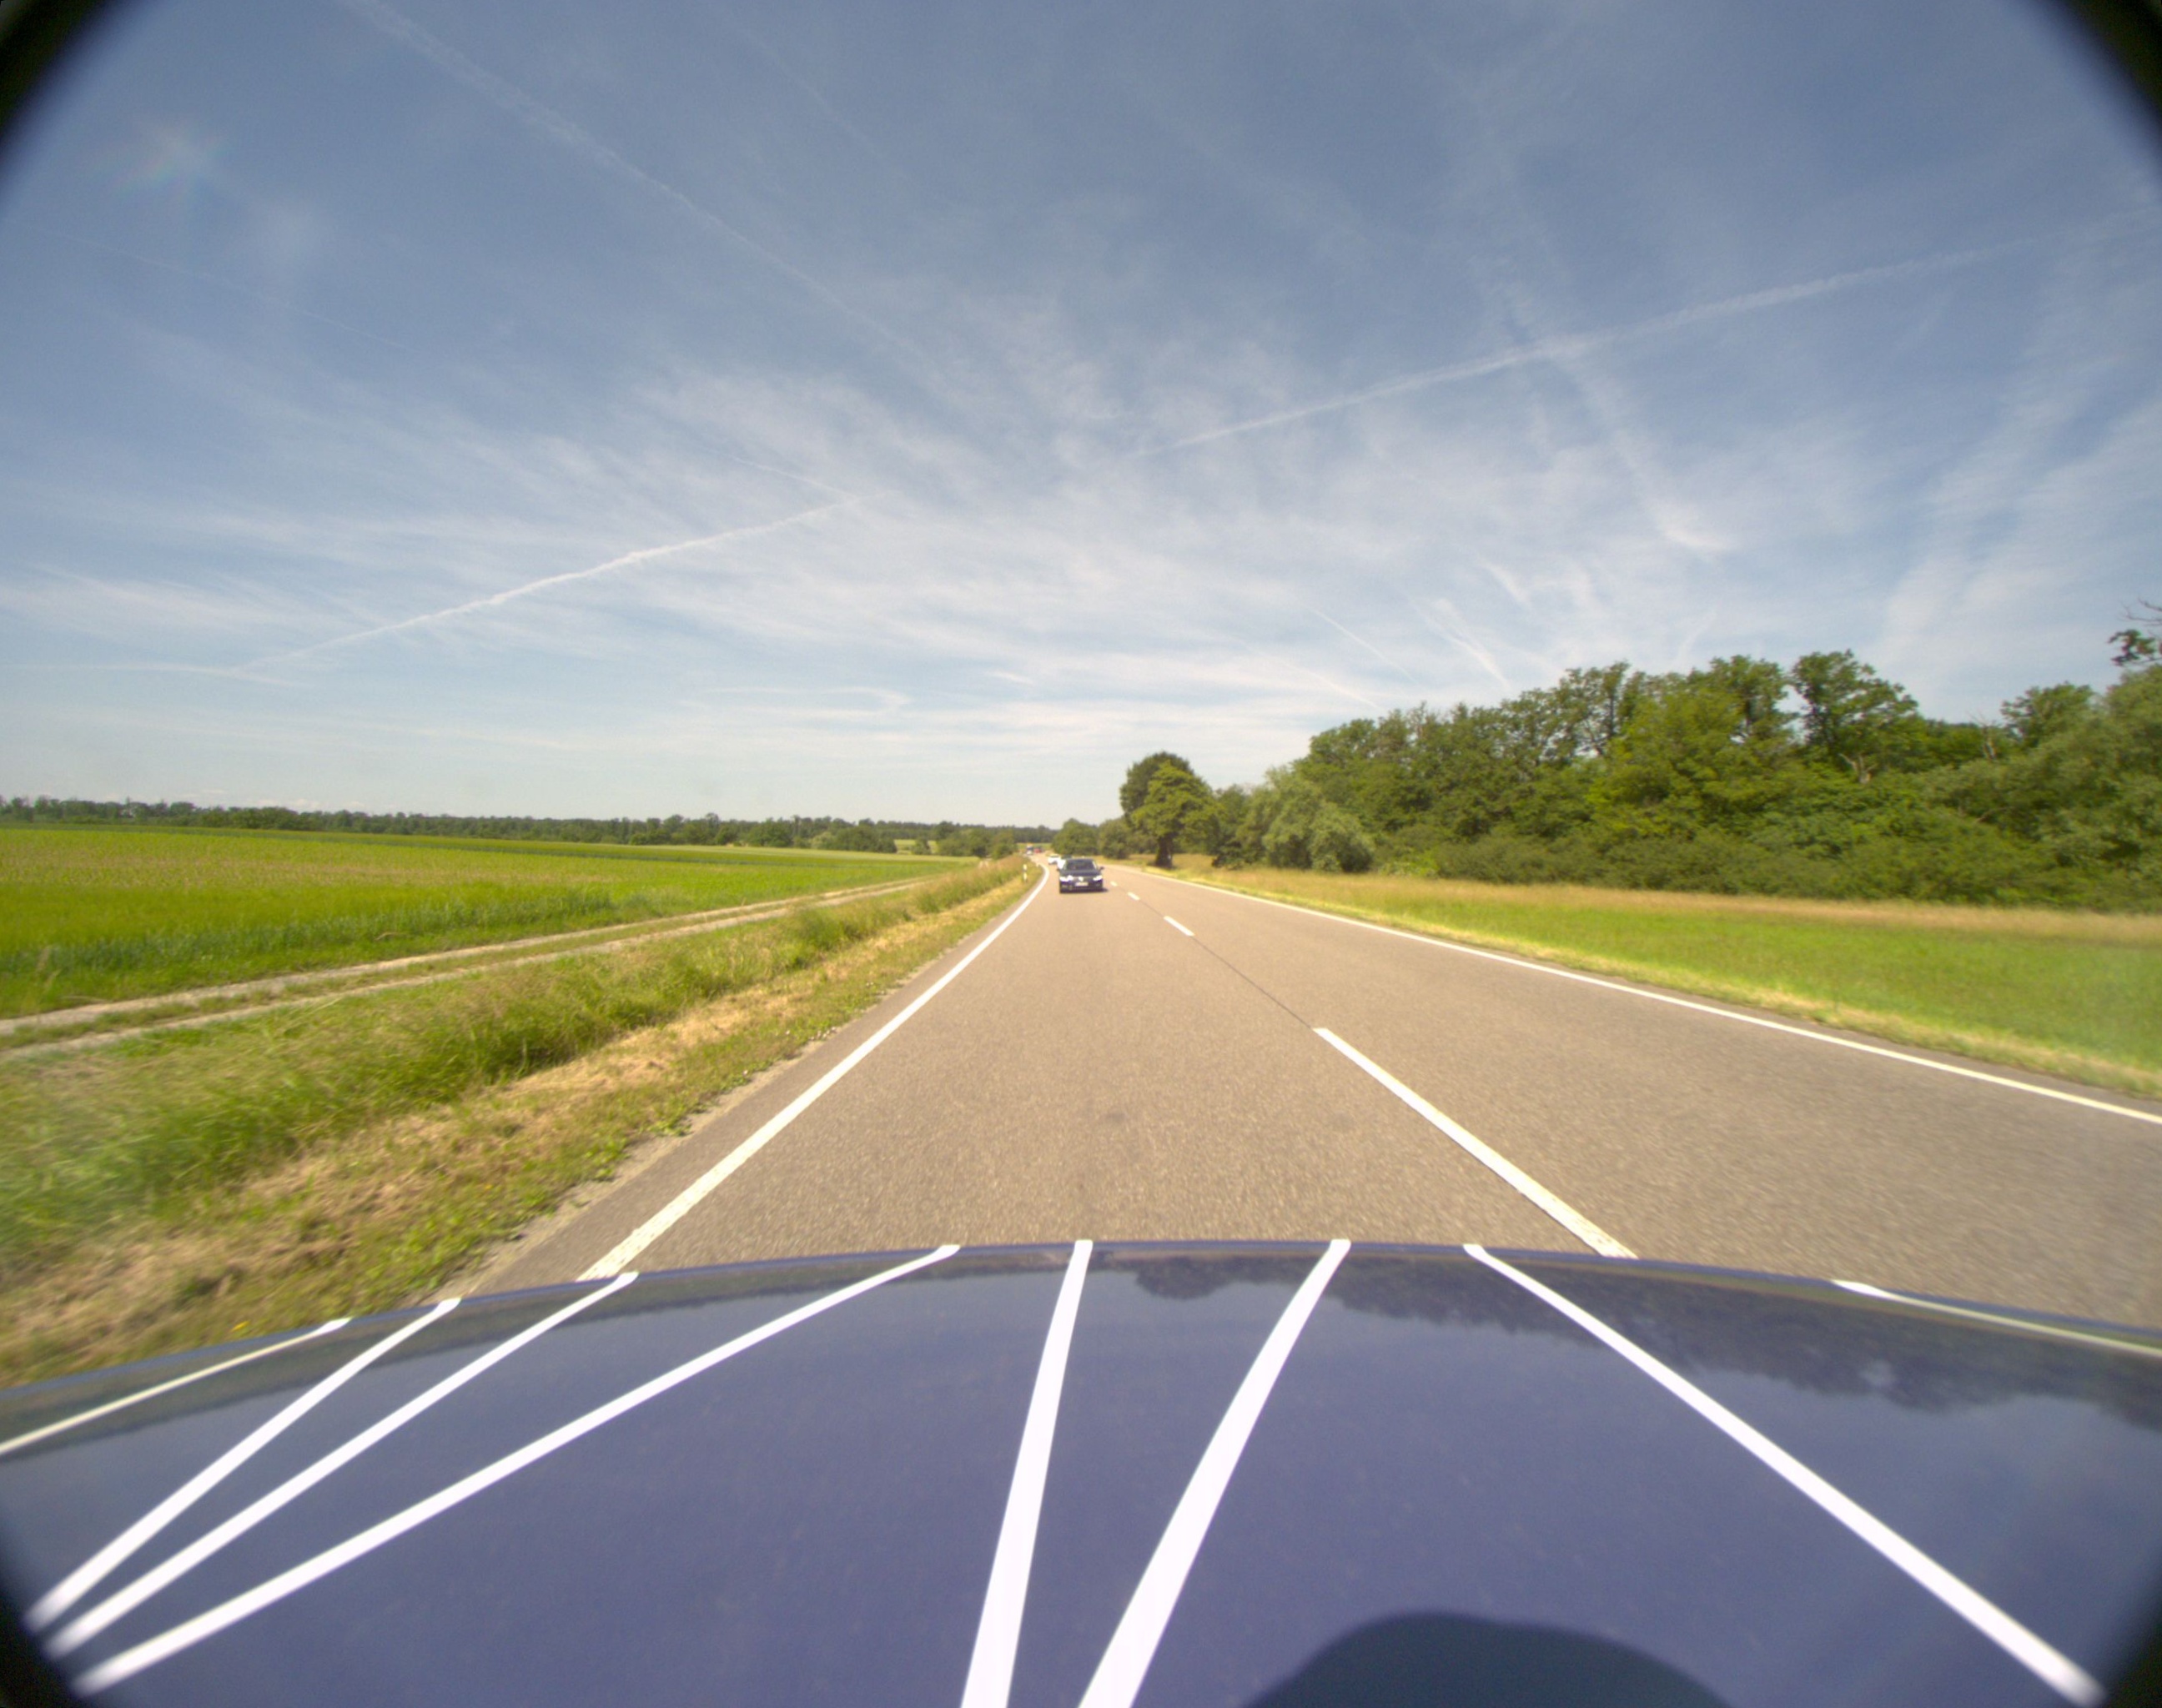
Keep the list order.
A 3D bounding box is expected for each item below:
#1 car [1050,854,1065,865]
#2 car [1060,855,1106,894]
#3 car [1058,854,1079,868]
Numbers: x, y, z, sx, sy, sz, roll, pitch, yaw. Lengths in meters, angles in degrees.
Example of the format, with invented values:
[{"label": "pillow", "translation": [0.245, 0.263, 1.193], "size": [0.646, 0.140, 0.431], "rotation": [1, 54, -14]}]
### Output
[{"label": "car", "translation": [-3.538, 0.746, 111.460], "size": [1.929, 1.501, 4.289], "rotation": [-2, 0, -5]}, {"label": "car", "translation": [0.029, 0.831, 33.082], "size": [1.822, 1.501, 4.499], "rotation": [-2, 0, -2]}, {"label": "car", "translation": [-1.298, 0.714, 79.502], "size": [1.929, 1.501, 4.290], "rotation": [0, 0, -4]}]
